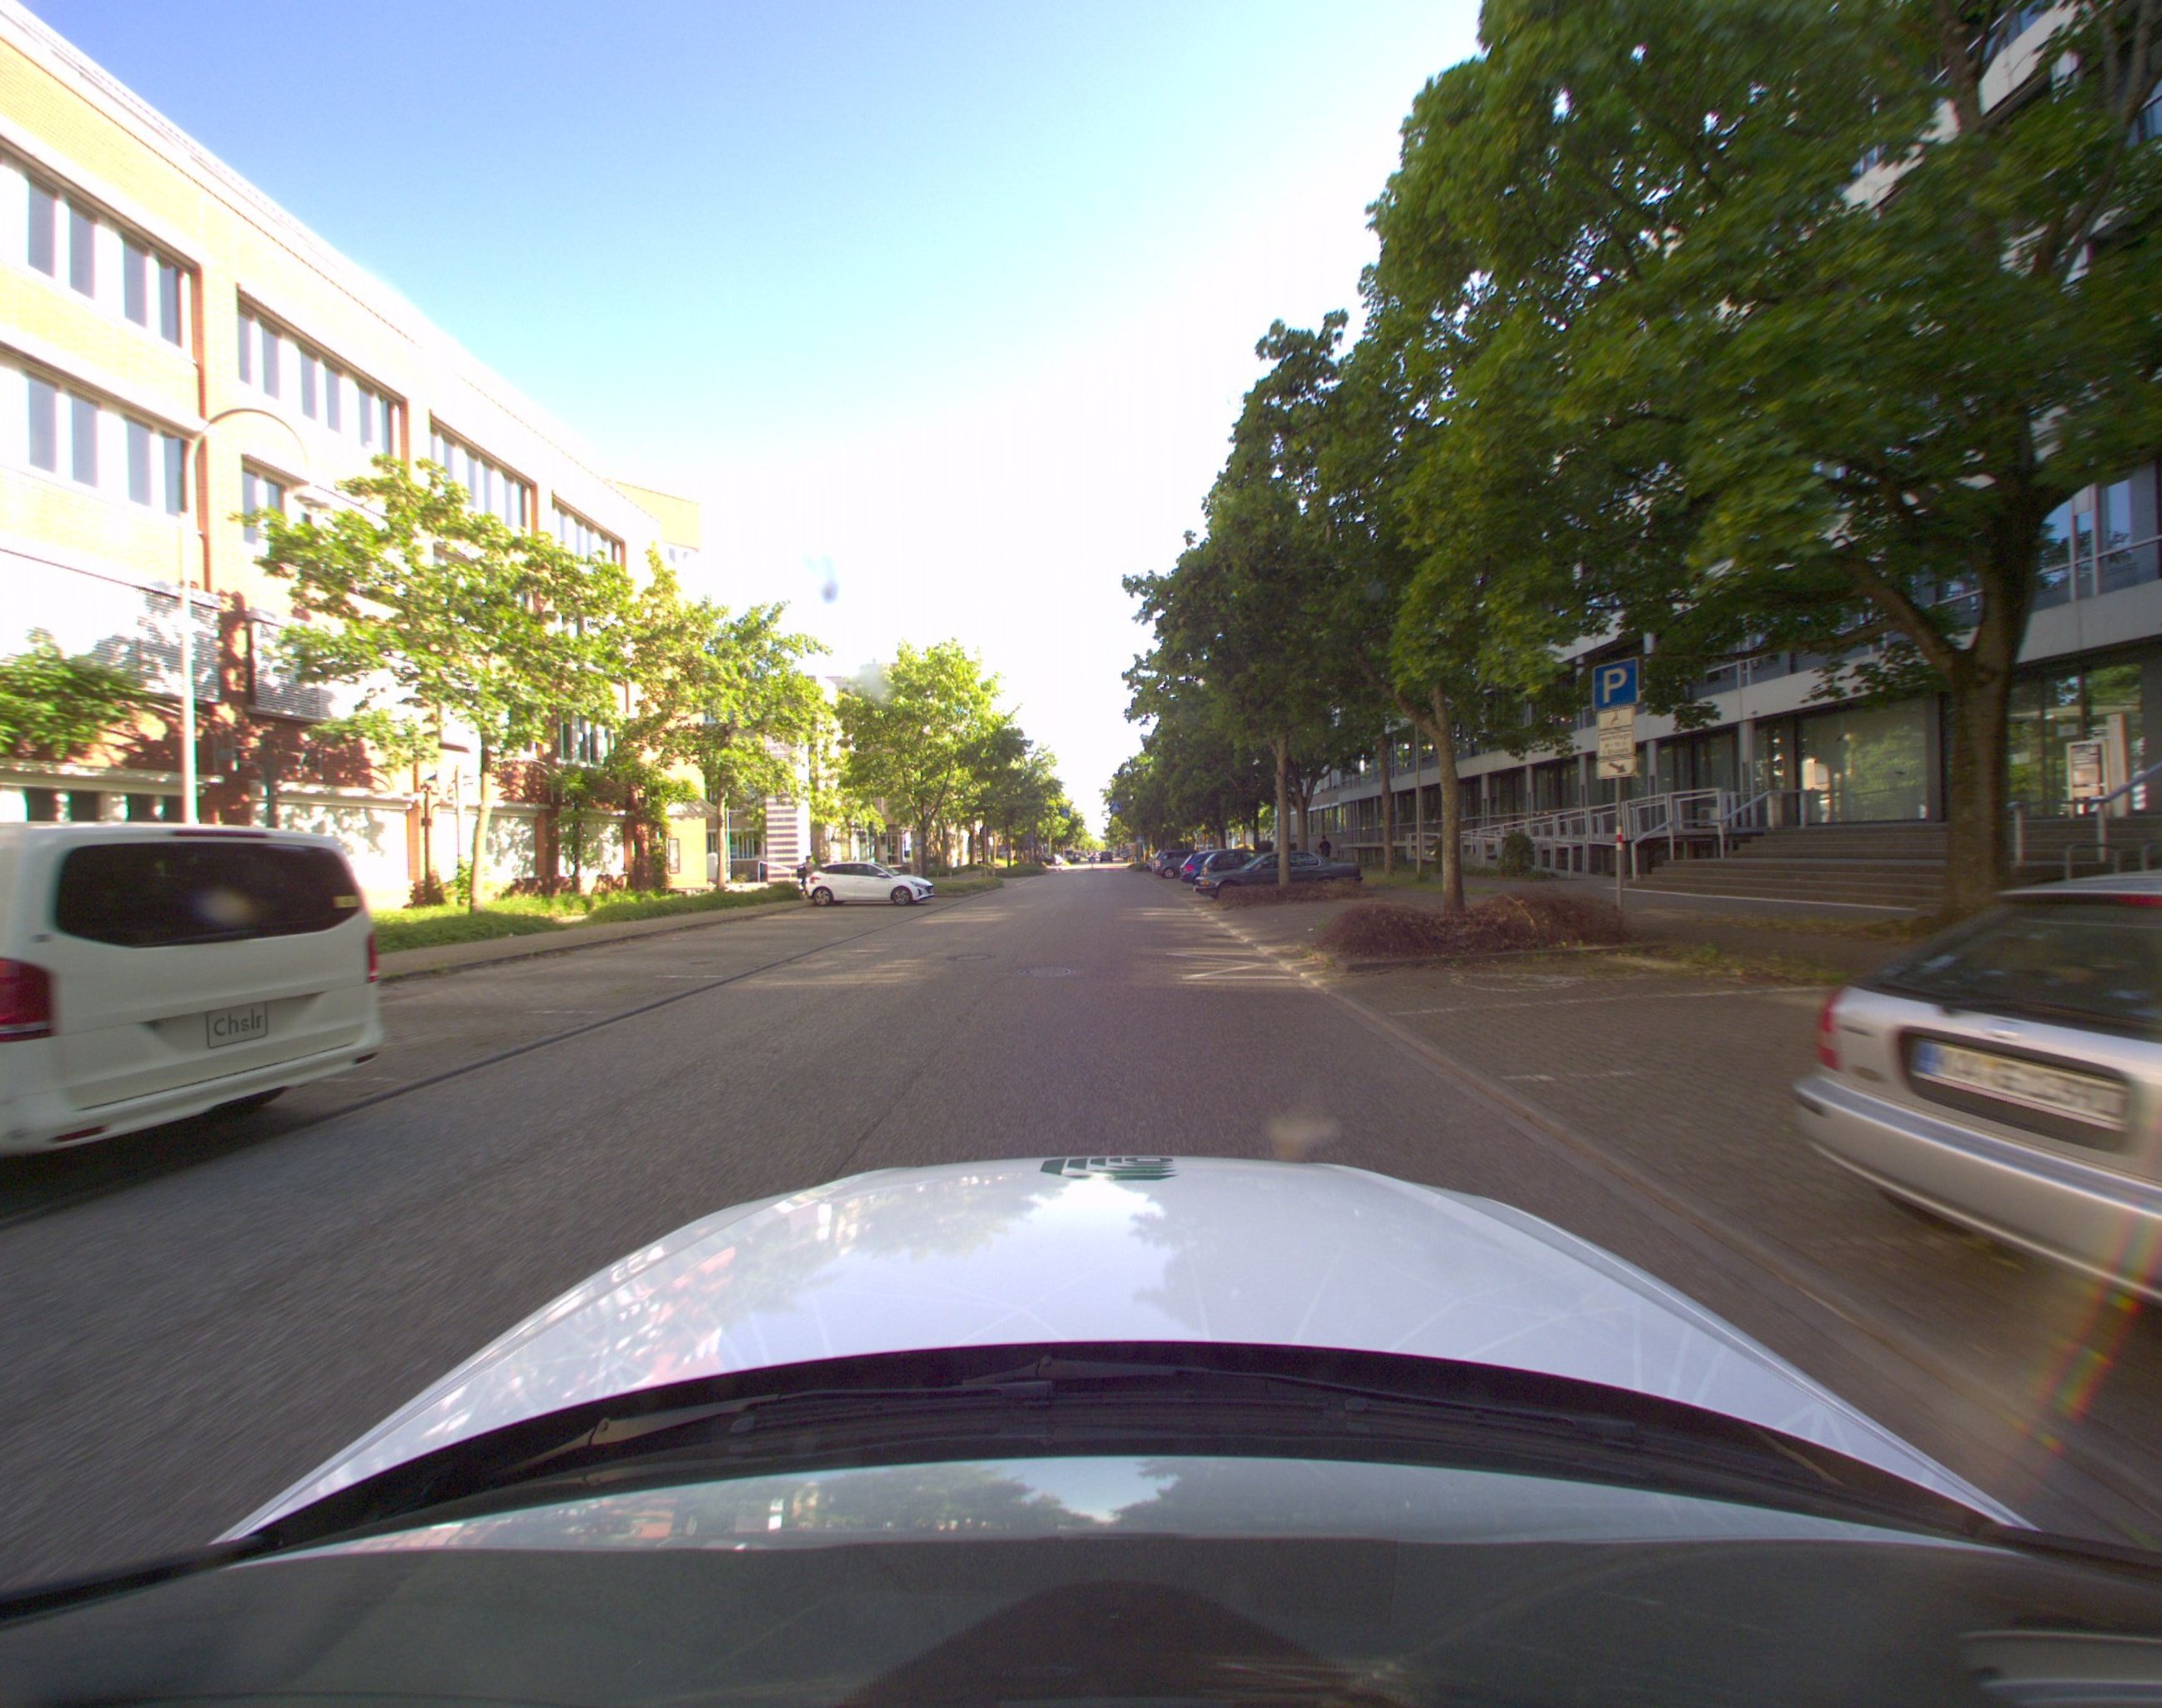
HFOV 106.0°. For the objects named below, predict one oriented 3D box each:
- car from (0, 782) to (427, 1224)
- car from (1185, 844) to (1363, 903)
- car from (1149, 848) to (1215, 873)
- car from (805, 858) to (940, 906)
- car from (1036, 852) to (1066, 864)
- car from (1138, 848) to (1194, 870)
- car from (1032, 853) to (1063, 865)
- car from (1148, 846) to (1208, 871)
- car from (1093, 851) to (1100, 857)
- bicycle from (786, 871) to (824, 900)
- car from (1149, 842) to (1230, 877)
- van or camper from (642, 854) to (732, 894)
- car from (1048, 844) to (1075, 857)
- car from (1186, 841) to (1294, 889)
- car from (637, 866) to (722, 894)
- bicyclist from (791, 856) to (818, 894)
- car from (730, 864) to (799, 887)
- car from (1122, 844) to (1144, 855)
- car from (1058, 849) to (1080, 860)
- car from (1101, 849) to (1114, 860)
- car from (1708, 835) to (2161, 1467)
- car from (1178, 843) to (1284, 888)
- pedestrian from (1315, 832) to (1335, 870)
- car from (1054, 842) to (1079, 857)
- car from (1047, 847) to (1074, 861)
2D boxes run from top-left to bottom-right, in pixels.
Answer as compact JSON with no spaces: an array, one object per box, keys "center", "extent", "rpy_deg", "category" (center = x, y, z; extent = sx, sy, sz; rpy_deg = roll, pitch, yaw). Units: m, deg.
[{"center":[-7.120,0.660,4.640],"extent":[5.238,1.967,1.943],"rpy_deg":[0,0,1],"category":"car"},{"center":[5.684,0.555,24.427],"extent":[4.810,1.420,2.031],"rpy_deg":[-3,0,-1],"category":"car"},{"center":[6.870,0.411,55.661],"extent":[4.179,1.448,1.812],"rpy_deg":[-3,0,-2],"category":"car"},{"center":[-6.852,0.898,27.023],"extent":[3.973,1.486,1.807],"rpy_deg":[-1,0,0],"category":"car"},{"center":[-3.904,0.525,106.404],"extent":[3.841,1.473,1.810],"rpy_deg":[0,0,-5],"category":"car"},{"center":[6.737,0.379,64.970],"extent":[4.179,1.473,1.812],"rpy_deg":[-3,0,-2],"category":"car"},{"center":[-4.141,0.618,101.807],"extent":[3.839,1.473,1.811],"rpy_deg":[0,0,-3],"category":"car"},{"center":[7.160,0.336,60.478],"extent":[4.179,1.536,1.812],"rpy_deg":[-3,0,-2],"category":"car"},{"center":[4.525,0.058,238.020],"extent":[1.806,1.525,4.002],"rpy_deg":[-2,0,2],"category":"car"},{"center":[-10.228,1.161,30.242],"extent":[0.602,0.981,1.866],"rpy_deg":[-2,0,6],"category":"bicycle"},{"center":[6.224,0.297,46.983],"extent":[4.339,1.704,1.812],"rpy_deg":[-3,0,-2],"category":"car"},{"center":[-28.789,1.445,59.642],"extent":[5.350,2.674,2.181],"rpy_deg":[-2,1,1],"category":"van or camper"},{"center":[-3.149,-0.550,132.144],"extent":[3.967,2.013,2.003],"rpy_deg":[-2,0,5],"category":"car"},{"center":[5.846,0.407,30.274],"extent":[3.628,1.514,1.813],"rpy_deg":[-3,0,1],"category":"car"},{"center":[-24.900,1.655,50.600],"extent":[4.176,1.477,2.000],"rpy_deg":[-3,-3,1],"category":"car"},{"center":[-10.245,0.775,30.190],"extent":[0.602,1.353,0.914],"rpy_deg":[-2,0,6],"category":"bicyclist"},{"center":[-23.144,1.564,59.739],"extent":[4.176,1.477,2.001],"rpy_deg":[-2,1,2],"category":"car"},{"center":[9.666,-0.825,150.791],"extent":[3.974,2.013,2.000],"rpy_deg":[-2,0,0],"category":"car"},{"center":[-2.288,0.124,156.646],"extent":[3.974,2.013,2.000],"rpy_deg":[-2,0,0],"category":"car"},{"center":[4.129,0.075,128.280],"extent":[1.986,1.640,4.001],"rpy_deg":[0,0,2],"category":"car"},{"center":[4.494,0.624,2.390],"extent":[3.957,1.420,1.710],"rpy_deg":[-3,0,-1],"category":"car"},{"center":[5.982,0.456,32.832],"extent":[3.933,1.514,1.814],"rpy_deg":[-3,0,2],"category":"car"},{"center":[11.673,-0.135,38.993],"extent":[0.605,1.745,1.191],"rpy_deg":[-2,0,2],"category":"pedestrian"},{"center":[-2.419,-0.777,137.258],"extent":[3.967,2.541,1.866],"rpy_deg":[-1,0,6],"category":"car"},{"center":[-3.237,0.057,128.778],"extent":[3.967,2.013,2.003],"rpy_deg":[-2,0,5],"category":"car"}]
